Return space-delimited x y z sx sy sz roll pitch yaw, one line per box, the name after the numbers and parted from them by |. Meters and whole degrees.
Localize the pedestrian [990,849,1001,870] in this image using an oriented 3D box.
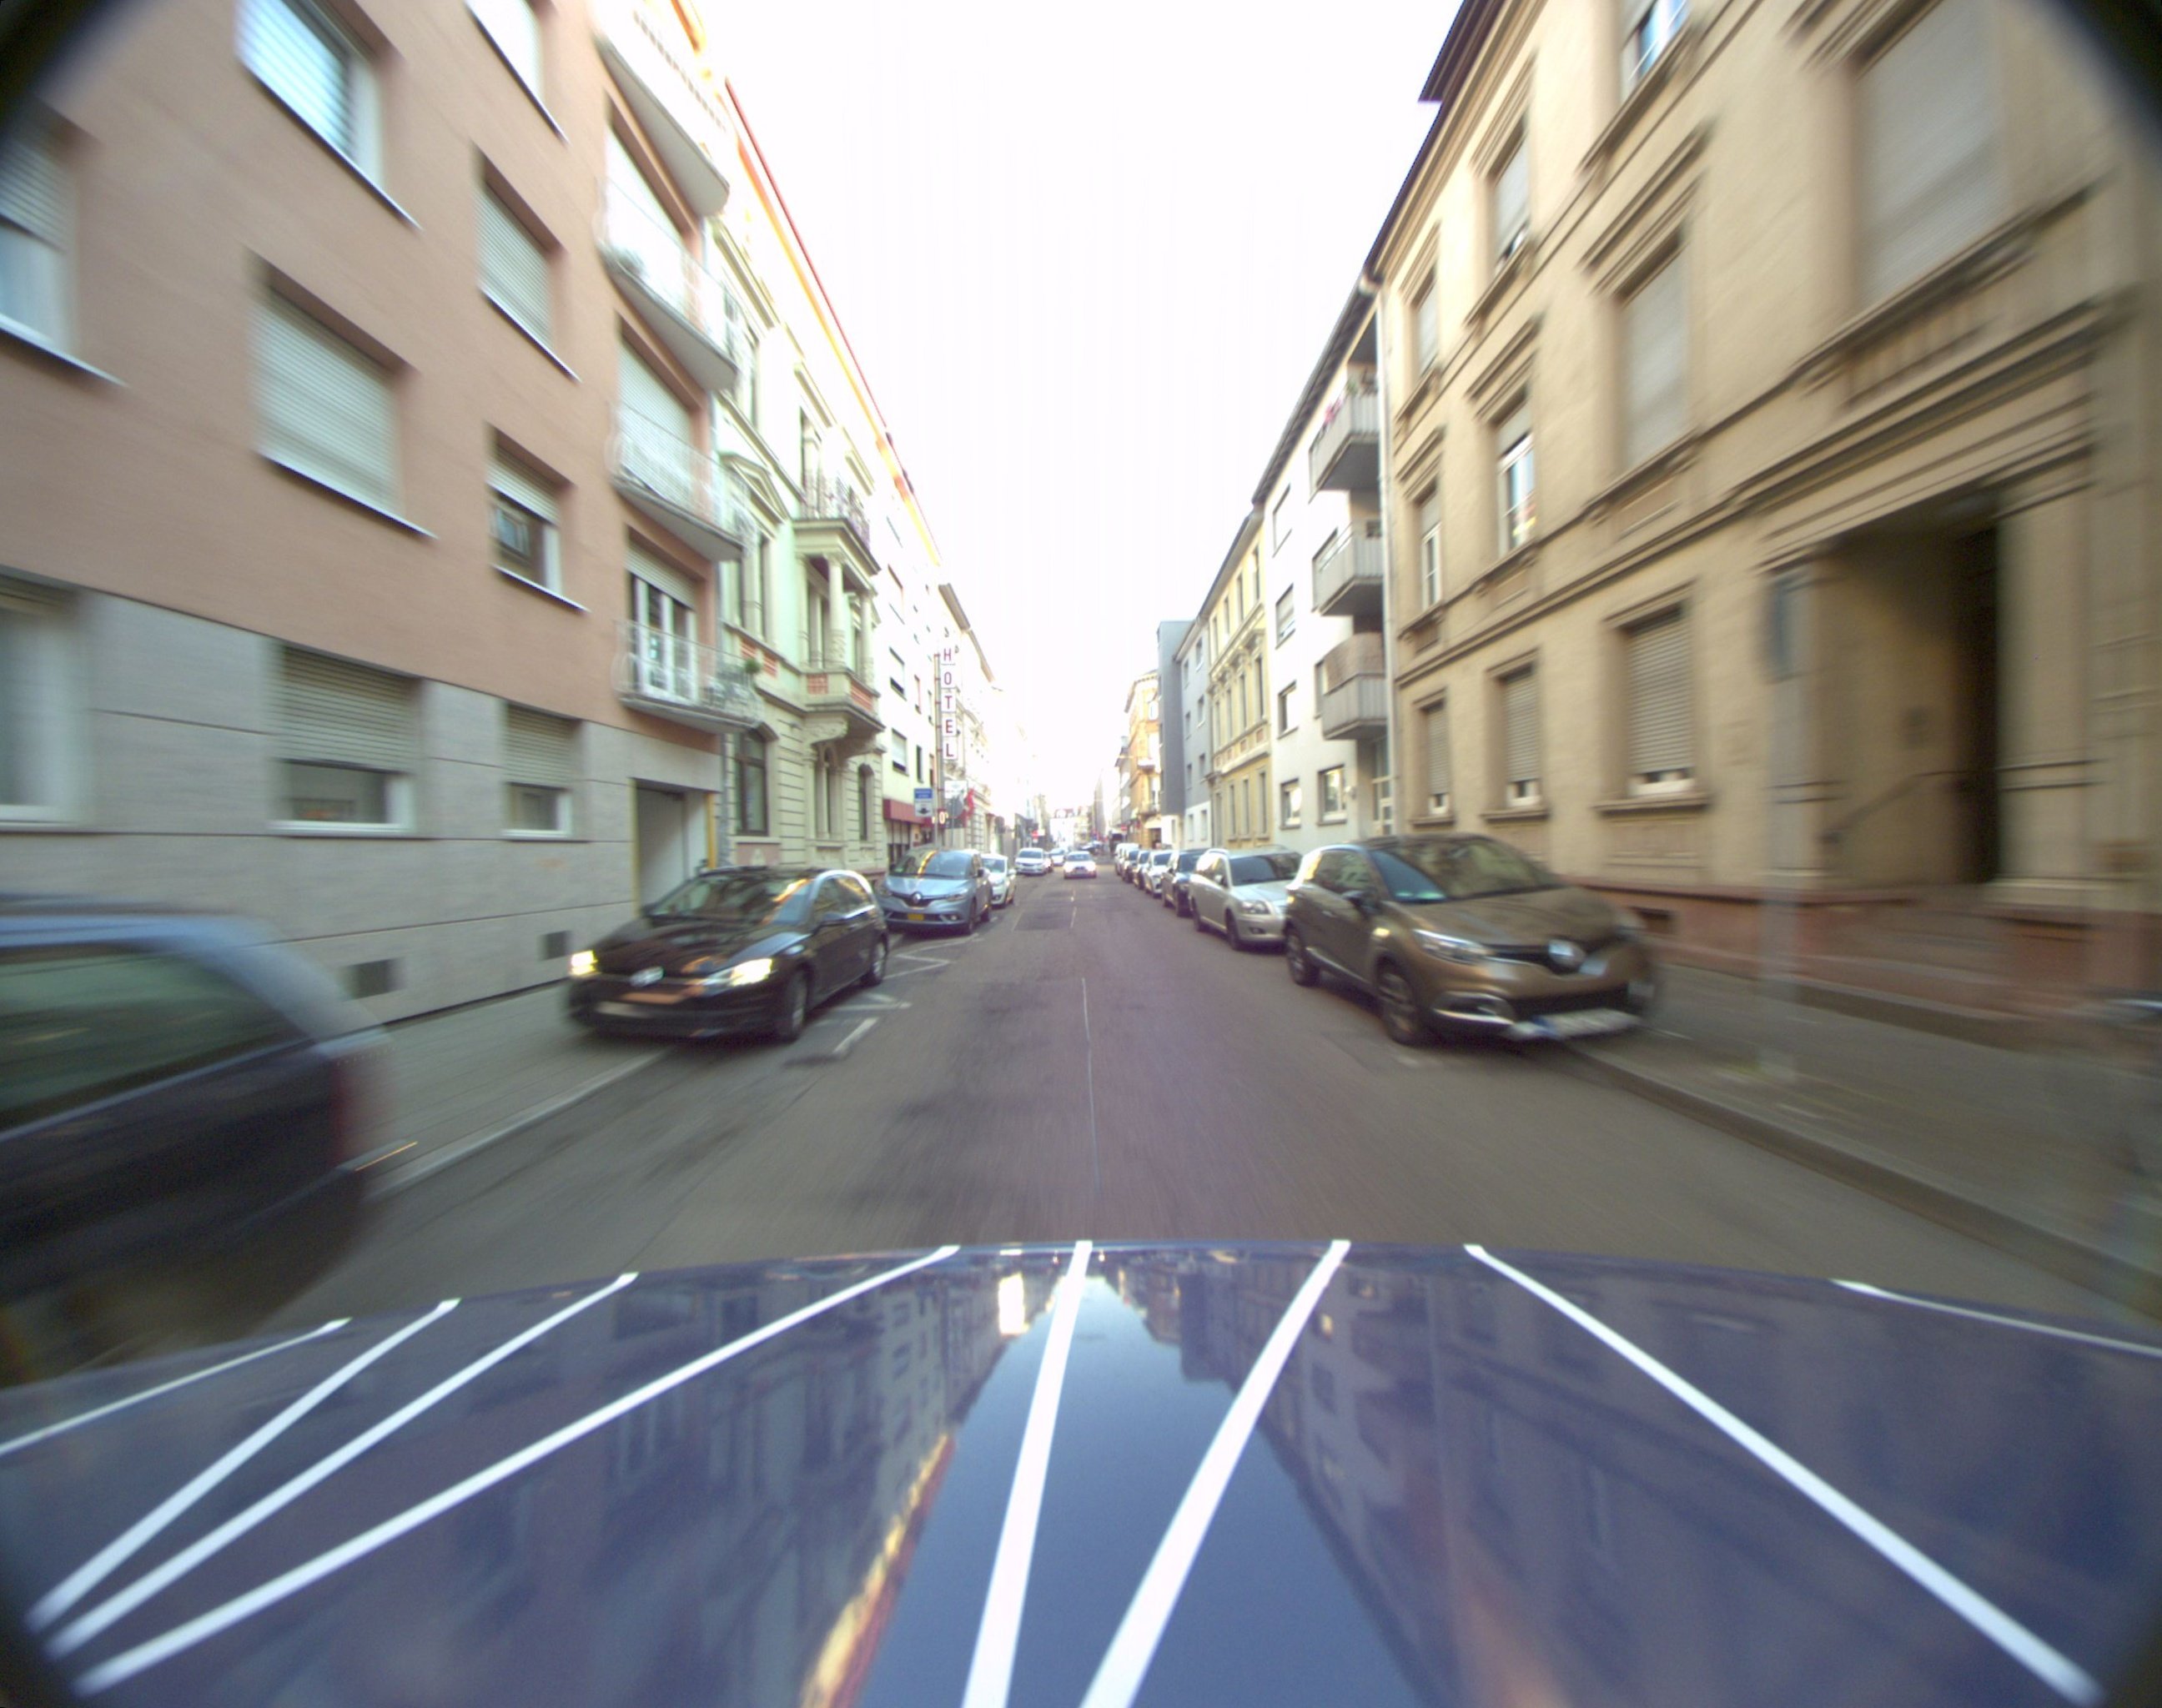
-5.796 0.354 51.498 0.696 1.415 0.483 -2 1 1 | pedestrian

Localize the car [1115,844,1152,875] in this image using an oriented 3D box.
2.880 0.272 42.520 1.642 1.571 3.782 -2 1 -2 | car

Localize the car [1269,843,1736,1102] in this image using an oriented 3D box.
3.156 0.716 6.787 1.795 1.567 4.069 -2 1 -2 | car

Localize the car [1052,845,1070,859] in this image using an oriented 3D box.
-2.092 -0.199 80.379 1.729 1.391 3.892 -2 1 1 | car

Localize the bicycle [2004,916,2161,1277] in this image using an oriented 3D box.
3.974 0.860 1.901 0.597 1.180 2.265 -2 1 1 | bicycle

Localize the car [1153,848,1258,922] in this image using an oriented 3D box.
2.891 0.644 18.582 1.795 1.530 4.493 -2 1 0 | car

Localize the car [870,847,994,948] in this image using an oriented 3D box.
-2.876 0.757 15.566 1.694 1.731 4.108 -2 1 0 | car

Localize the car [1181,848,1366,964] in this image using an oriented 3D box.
2.939 0.694 12.613 1.795 1.530 4.433 -2 1 -2 | car

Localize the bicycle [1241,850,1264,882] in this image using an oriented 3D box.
5.605 0.364 24.885 0.292 1.003 1.543 -2 1 -3 | bicycle

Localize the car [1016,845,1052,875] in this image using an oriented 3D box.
-2.882 0.357 47.635 1.841 1.685 4.358 3 1 1 | car

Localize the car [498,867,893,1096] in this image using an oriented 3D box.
-3.211 0.930 7.392 1.694 1.450 4.131 -2 1 0 | car

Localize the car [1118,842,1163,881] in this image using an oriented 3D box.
2.760 0.307 35.961 1.642 1.701 3.782 -2 1 -2 | car

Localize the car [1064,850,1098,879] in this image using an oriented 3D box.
0.006 0.519 41.407 1.681 1.395 4.470 -3 1 0 | car

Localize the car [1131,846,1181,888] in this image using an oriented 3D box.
2.884 0.466 29.856 1.642 1.480 3.954 -2 1 2 | car

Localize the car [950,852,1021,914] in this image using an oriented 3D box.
-2.711 0.777 22.258 1.574 1.569 3.589 -2 1 0 | car

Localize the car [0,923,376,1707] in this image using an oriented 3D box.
-2.999 1.008 0.138 1.694 1.505 4.282 -2 1 0 | car

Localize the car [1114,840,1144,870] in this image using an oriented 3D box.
2.997 0.037 48.098 1.642 1.786 3.782 -2 1 0 | car

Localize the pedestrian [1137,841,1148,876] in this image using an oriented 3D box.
3.091 0.212 38.197 0.456 1.745 0.455 -2 1 -2 | pedestrian

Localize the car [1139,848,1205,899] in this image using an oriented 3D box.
2.892 0.581 24.849 1.642 1.480 3.788 -2 1 0 | car

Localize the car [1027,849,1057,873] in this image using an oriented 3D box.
-2.653 0.466 52.686 1.729 1.469 3.975 -2 1 1 | car

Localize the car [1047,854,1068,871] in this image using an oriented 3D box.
-2.145 0.744 69.998 1.729 1.391 3.892 -2 1 1 | car

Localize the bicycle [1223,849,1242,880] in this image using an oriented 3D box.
5.543 0.370 27.868 0.382 1.108 1.544 -2 1 1 | bicycle
